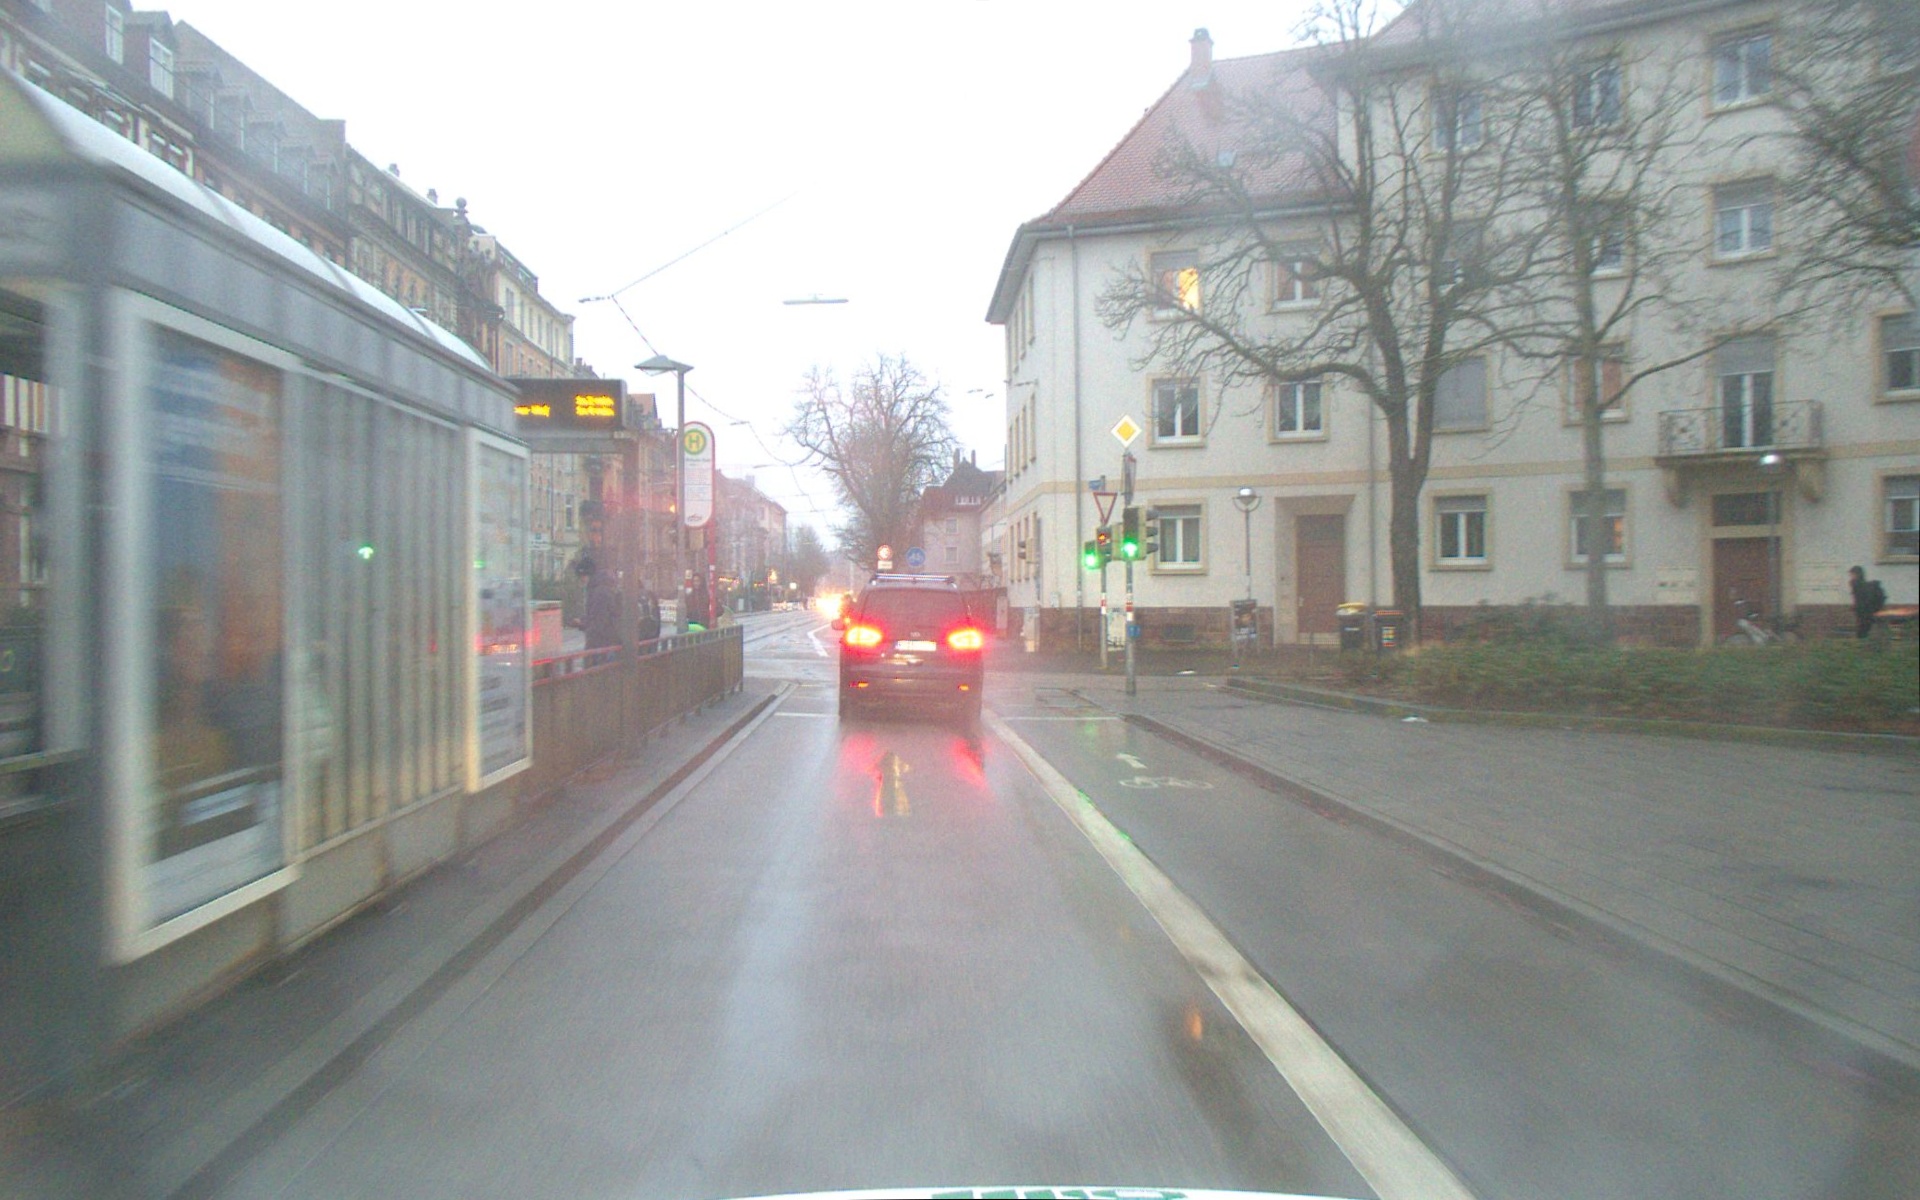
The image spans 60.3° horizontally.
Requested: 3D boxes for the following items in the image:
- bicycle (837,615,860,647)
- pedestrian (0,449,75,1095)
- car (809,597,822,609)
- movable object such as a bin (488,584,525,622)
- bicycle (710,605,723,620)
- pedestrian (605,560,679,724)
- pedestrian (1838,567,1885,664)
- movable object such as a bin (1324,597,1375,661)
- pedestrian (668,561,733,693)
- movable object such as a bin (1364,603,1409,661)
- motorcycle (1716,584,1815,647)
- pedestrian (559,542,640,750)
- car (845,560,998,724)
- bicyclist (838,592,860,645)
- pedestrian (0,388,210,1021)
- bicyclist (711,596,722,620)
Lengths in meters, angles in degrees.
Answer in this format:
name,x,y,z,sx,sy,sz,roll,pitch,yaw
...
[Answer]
name,x,y,z,sx,sy,sz,roll,pitch,yaw
bicycle,-3.748,1.031,55.723,0.716,1.024,1.763,0,0,-1
pedestrian,-2.886,0.469,4.533,0.546,1.771,0.570,2,0,-2
car,-22.241,0.468,254.458,1.885,1.750,3.998,0,0,-3
movable object such as a bin,-19.720,0.126,71.928,1.218,1.613,1.308,1,0,2
bicycle,-16.404,0.862,111.403,0.664,0.989,1.932,0,0,-1
pedestrian,-3.478,0.455,18.117,0.644,1.738,0.570,2,0,-2
pedestrian,15.980,0.268,29.321,0.699,1.689,0.687,-1,0,30
movable object such as a bin,7.988,0.587,33.938,0.838,1.273,0.519,2,0,40
pedestrian,-3.933,0.407,25.090,0.672,1.951,0.718,2,0,15
movable object such as a bin,8.618,0.645,33.420,0.688,1.139,0.536,2,0,40
motorcycle,15.112,0.275,31.051,0.564,1.124,1.581,-3,2,-38
pedestrian,-3.284,0.412,15.098,0.546,1.839,0.570,2,0,-2
car,-0.602,0.504,21.921,1.766,1.903,4.014,2,0,-4
bicyclist,-3.742,0.623,55.737,0.715,1.767,0.765,0,0,-2
pedestrian,-2.986,0.335,5.607,0.546,2.022,0.570,2,0,-2
bicyclist,-16.420,0.544,111.456,0.670,1.644,0.765,0,0,-2
